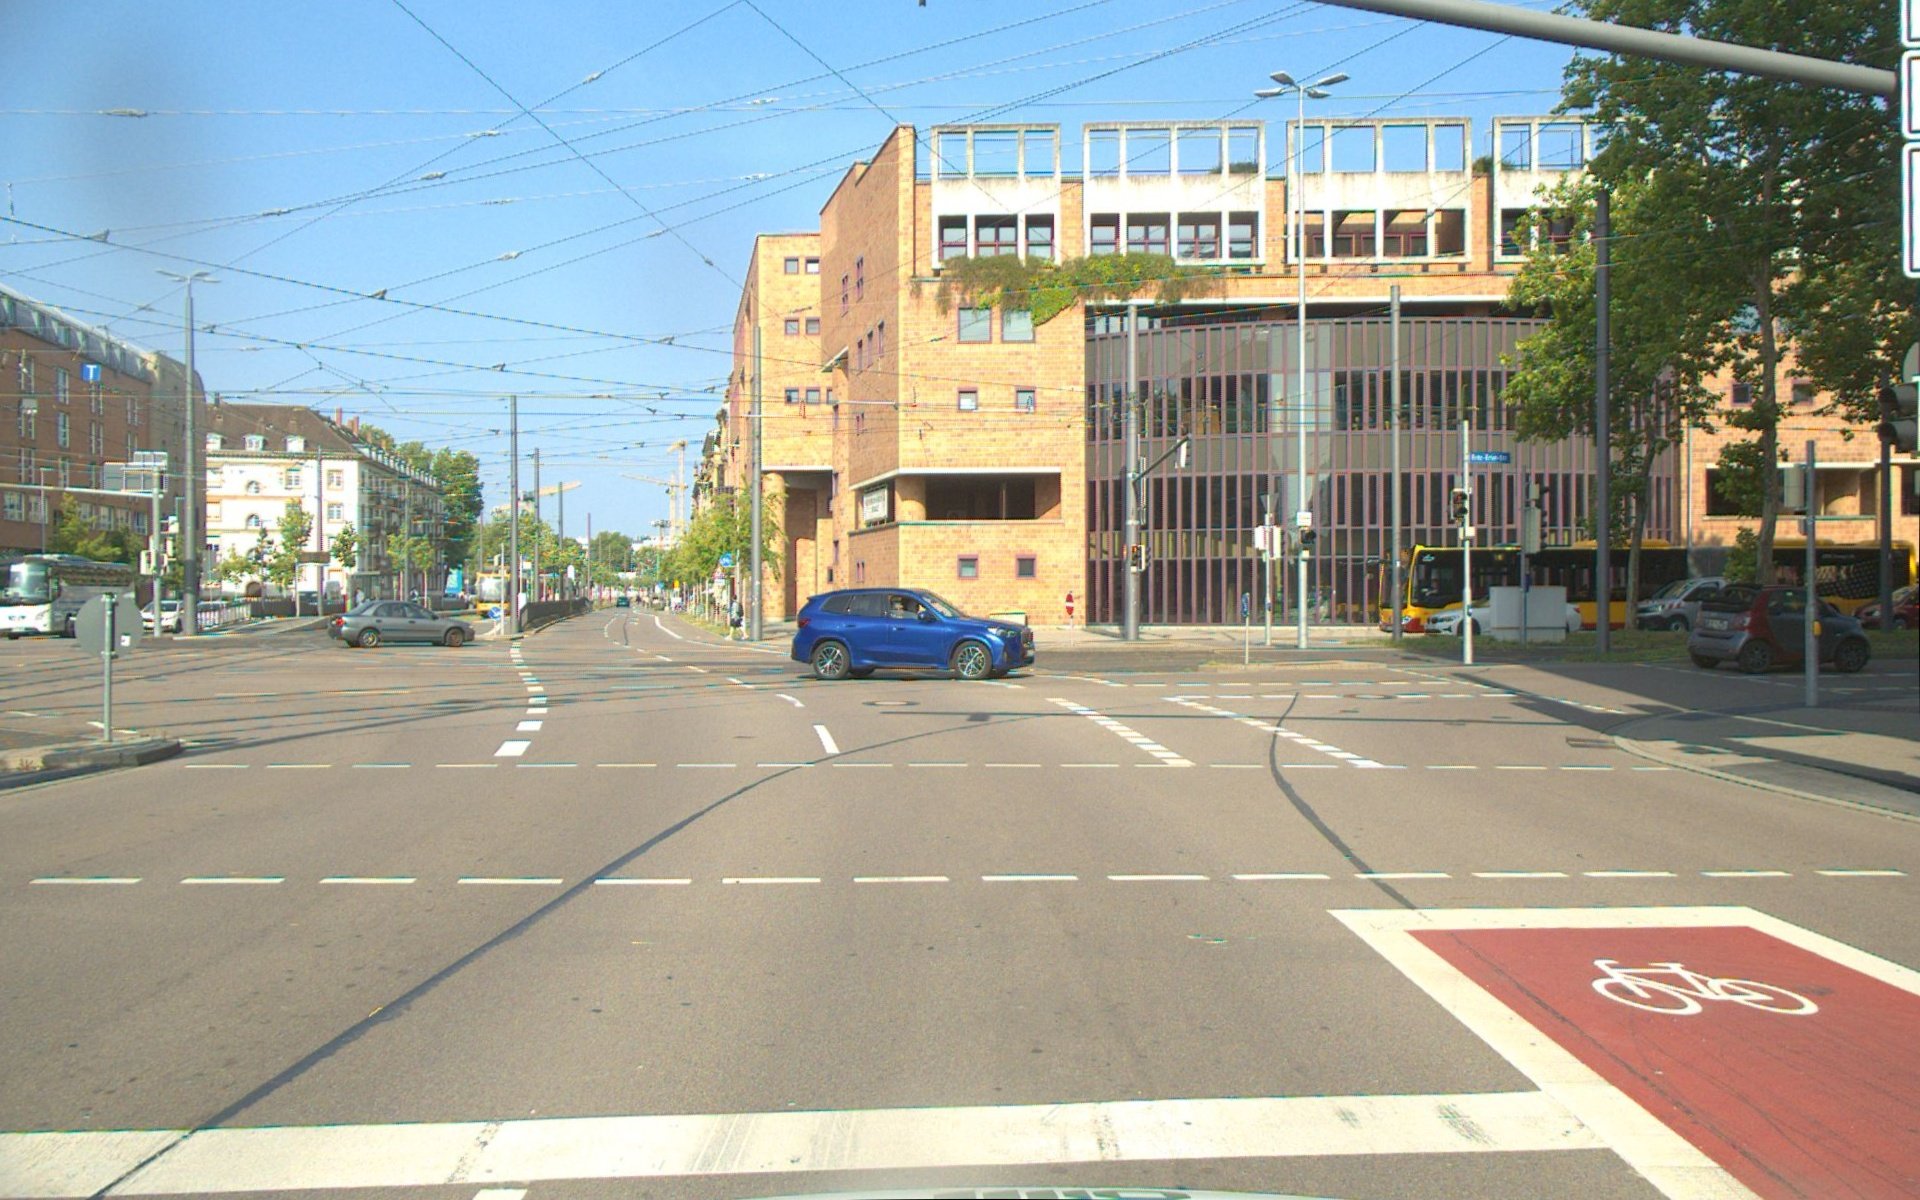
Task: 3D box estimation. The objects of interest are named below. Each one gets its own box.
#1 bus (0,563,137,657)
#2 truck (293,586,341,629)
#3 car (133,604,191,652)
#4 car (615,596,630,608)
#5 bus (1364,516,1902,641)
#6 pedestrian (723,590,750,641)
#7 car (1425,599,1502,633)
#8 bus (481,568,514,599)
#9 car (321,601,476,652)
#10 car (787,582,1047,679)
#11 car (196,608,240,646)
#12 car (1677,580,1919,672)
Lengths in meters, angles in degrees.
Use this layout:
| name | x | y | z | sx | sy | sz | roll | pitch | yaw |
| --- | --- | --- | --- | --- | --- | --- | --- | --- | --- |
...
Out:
| name | x | y | z | sx | sy | sz | roll | pitch | yaw |
| --- | --- | --- | --- | --- | --- | --- | --- | --- | --- |
| bus | -41.123 | 0.560 | 76.204 | 2.698 | 3.990 | 12.179 | 0 | -1 | -12 |
| truck | -40.322 | 0.491 | 103.835 | 1.958 | 2.644 | 4.726 | 0 | -1 | -11 |
| car | -34.270 | 1.209 | 71.090 | 1.572 | 2.049 | 2.722 | 0 | -1 | -10 |
| car | -47.940 | 0.250 | 234.919 | 2.037 | 1.569 | 4.401 | 0 | -1 | -12 |
| bus | 21.892 | -0.674 | 53.798 | 17.286 | 3.877 | 2.858 | 0 | -1 | -10 |
| pedestrian | -9.105 | 0.637 | 67.350 | 0.823 | 2.049 | 0.811 | 0 | 0 | 15 |
| car | 14.710 | 0.463 | 48.404 | 1.912 | 0.975 | 1.093 | 0 | 0 | -1 |
| bus | -31.363 | -1.116 | 112.184 | 1.959 | 2.049 | 3.987 | 0 | 0 | -13 |
| car | -17.114 | 0.812 | 50.488 | 4.168 | 1.513 | 1.977 | 0 | -2 | -33 |
| car | -0.762 | 0.568 | 30.078 | 4.306 | 1.664 | 1.993 | -1 | -1 | 17 |
| car | -35.084 | 1.292 | 78.284 | 1.186 | 1.791 | 2.604 | 0 | -1 | -8 |
| car | 15.027 | 0.433 | 29.764 | 3.521 | 1.518 | 1.701 | 0 | 3 | -5 |
